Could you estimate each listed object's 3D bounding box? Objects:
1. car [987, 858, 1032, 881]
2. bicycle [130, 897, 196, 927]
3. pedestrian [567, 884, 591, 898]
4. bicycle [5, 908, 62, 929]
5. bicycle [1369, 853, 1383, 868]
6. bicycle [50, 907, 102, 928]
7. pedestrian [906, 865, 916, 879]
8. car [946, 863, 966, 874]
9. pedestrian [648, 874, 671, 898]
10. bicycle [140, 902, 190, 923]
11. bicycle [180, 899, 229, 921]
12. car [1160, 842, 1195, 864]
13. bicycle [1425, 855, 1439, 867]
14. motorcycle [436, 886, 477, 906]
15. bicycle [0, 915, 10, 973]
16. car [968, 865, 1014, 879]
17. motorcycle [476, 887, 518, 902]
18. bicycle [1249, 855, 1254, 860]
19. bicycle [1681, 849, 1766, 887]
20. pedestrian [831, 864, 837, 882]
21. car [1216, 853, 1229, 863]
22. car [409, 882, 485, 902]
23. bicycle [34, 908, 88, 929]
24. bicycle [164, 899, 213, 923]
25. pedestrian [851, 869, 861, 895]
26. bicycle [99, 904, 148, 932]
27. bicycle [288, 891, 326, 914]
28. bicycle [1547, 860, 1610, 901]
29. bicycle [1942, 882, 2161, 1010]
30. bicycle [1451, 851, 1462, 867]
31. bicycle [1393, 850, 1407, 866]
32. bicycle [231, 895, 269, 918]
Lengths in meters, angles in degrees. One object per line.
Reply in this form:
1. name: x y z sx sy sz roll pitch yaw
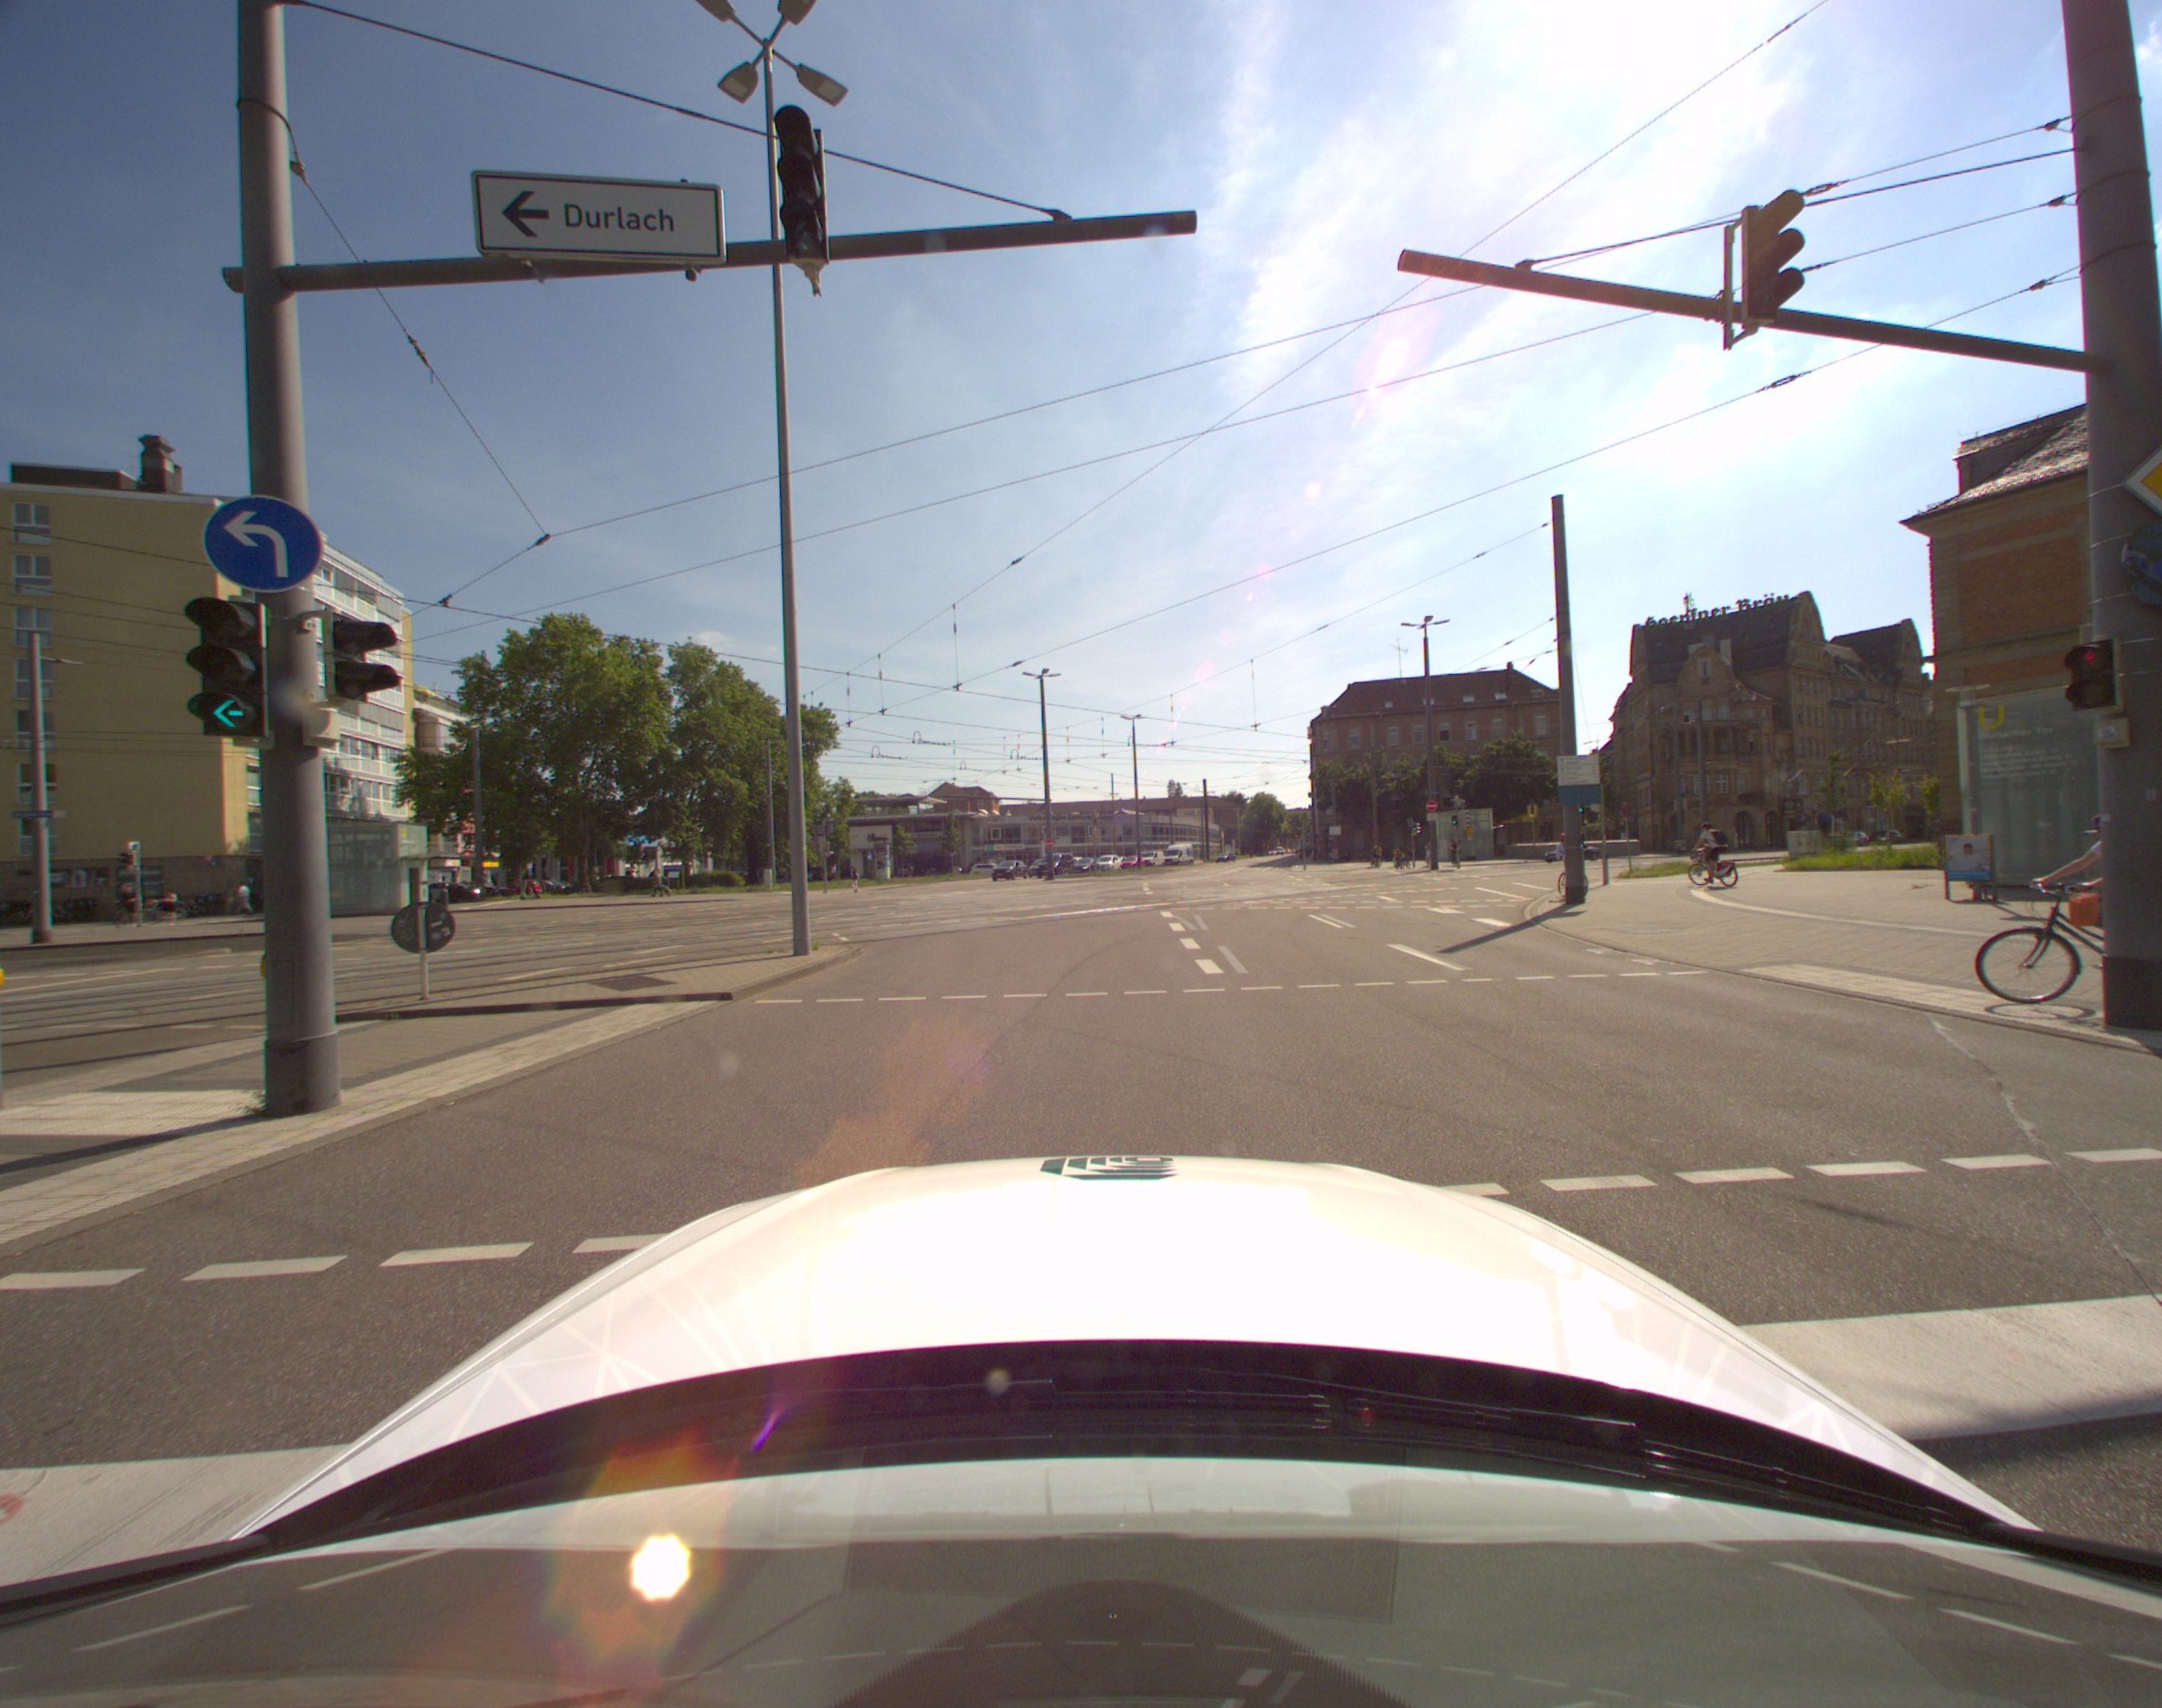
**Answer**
1. car: -5.422 1.184 62.237 1.876 1.588 4.230 -3 -2 18
2. bicycle: -39.696 2.494 35.258 0.749 1.130 1.798 -2 0 2
3. pedestrian: -33.770 2.486 54.804 1.175 0.892 0.817 -2 0 -18
4. bicycle: -54.059 3.315 42.032 1.754 0.916 0.581 -3 0 -16
5. bicycle: 21.692 0.511 59.916 0.919 1.069 2.760 -1 -1 20
6. bicycle: -52.488 3.317 42.538 1.750 0.916 0.582 -3 0 -9
7. pedestrian: -18.991 2.007 91.071 0.951 1.580 0.534 0 -1 -2
8. car: -15.094 1.736 98.378 1.824 1.195 3.999 0 -1 0
9. pedestrian: -25.100 1.912 48.532 1.118 1.404 0.652 0 -1 -21
10. bicycle: -48.924 3.130 43.495 1.752 0.965 0.582 -3 0 -11
11. bicycle: -47.323 3.024 43.969 1.751 1.043 0.582 -3 0 -10
12. car: 11.589 -0.060 97.625 2.188 2.575 5.910 -1 -1 27
13. bicycle: 25.361 0.506 58.877 0.497 0.866 1.590 0 0 7
14. motorcycle: -36.285 2.417 47.334 2.020 1.062 0.642 -2 0 8
15. bicycle: -21.156 1.757 14.883 1.843 1.084 0.749 -4 -1 -10
16. car: -9.458 1.904 85.690 4.551 1.436 1.450 -1 -1 15
17. motorcycle: -37.446 2.586 52.233 0.632 0.842 2.051 -2 0 35
18. bicycle: 36.397 0.744 173.834 0.746 1.194 2.850 -1 -1 15
19. bicycle: 17.967 0.387 22.837 0.712 1.015 2.019 0 -1 -2
20. pedestrian: -22.813 1.754 75.215 0.388 1.596 0.466 -1 -1 25
21. car: 20.522 0.557 118.100 1.372 1.414 3.028 -1 -1 21
22. car: -47.097 2.802 60.536 3.994 1.440 1.881 0 -1 -16
23. bicycle: -52.561 3.308 41.974 1.750 0.916 0.582 -3 0 -9
24. bicycle: -47.464 3.026 43.305 1.747 1.085 0.583 -3 2 -4
25. pedestrian: -13.893 1.716 50.243 0.456 1.605 0.396 1 -2 -35
26. bicycle: -41.363 2.746 35.199 0.584 1.130 1.783 -3 -1 -22
27. bicycle: -44.929 2.810 47.279 0.581 1.219 1.753 -2 0 -5
28. bicycle: 13.658 0.714 22.435 0.710 1.015 2.026 -4 -1 9
29. bicycle: 9.136 0.801 7.215 1.894 1.015 0.721 -5 -2 35
30. bicycle: 25.112 0.316 54.503 0.661 1.069 2.477 -1 0 24
31. bicycle: 23.346 0.284 59.587 0.918 1.069 2.856 -1 0 21
32. bicycle: -46.815 2.944 45.883 0.540 1.186 1.881 -2 0 -13
